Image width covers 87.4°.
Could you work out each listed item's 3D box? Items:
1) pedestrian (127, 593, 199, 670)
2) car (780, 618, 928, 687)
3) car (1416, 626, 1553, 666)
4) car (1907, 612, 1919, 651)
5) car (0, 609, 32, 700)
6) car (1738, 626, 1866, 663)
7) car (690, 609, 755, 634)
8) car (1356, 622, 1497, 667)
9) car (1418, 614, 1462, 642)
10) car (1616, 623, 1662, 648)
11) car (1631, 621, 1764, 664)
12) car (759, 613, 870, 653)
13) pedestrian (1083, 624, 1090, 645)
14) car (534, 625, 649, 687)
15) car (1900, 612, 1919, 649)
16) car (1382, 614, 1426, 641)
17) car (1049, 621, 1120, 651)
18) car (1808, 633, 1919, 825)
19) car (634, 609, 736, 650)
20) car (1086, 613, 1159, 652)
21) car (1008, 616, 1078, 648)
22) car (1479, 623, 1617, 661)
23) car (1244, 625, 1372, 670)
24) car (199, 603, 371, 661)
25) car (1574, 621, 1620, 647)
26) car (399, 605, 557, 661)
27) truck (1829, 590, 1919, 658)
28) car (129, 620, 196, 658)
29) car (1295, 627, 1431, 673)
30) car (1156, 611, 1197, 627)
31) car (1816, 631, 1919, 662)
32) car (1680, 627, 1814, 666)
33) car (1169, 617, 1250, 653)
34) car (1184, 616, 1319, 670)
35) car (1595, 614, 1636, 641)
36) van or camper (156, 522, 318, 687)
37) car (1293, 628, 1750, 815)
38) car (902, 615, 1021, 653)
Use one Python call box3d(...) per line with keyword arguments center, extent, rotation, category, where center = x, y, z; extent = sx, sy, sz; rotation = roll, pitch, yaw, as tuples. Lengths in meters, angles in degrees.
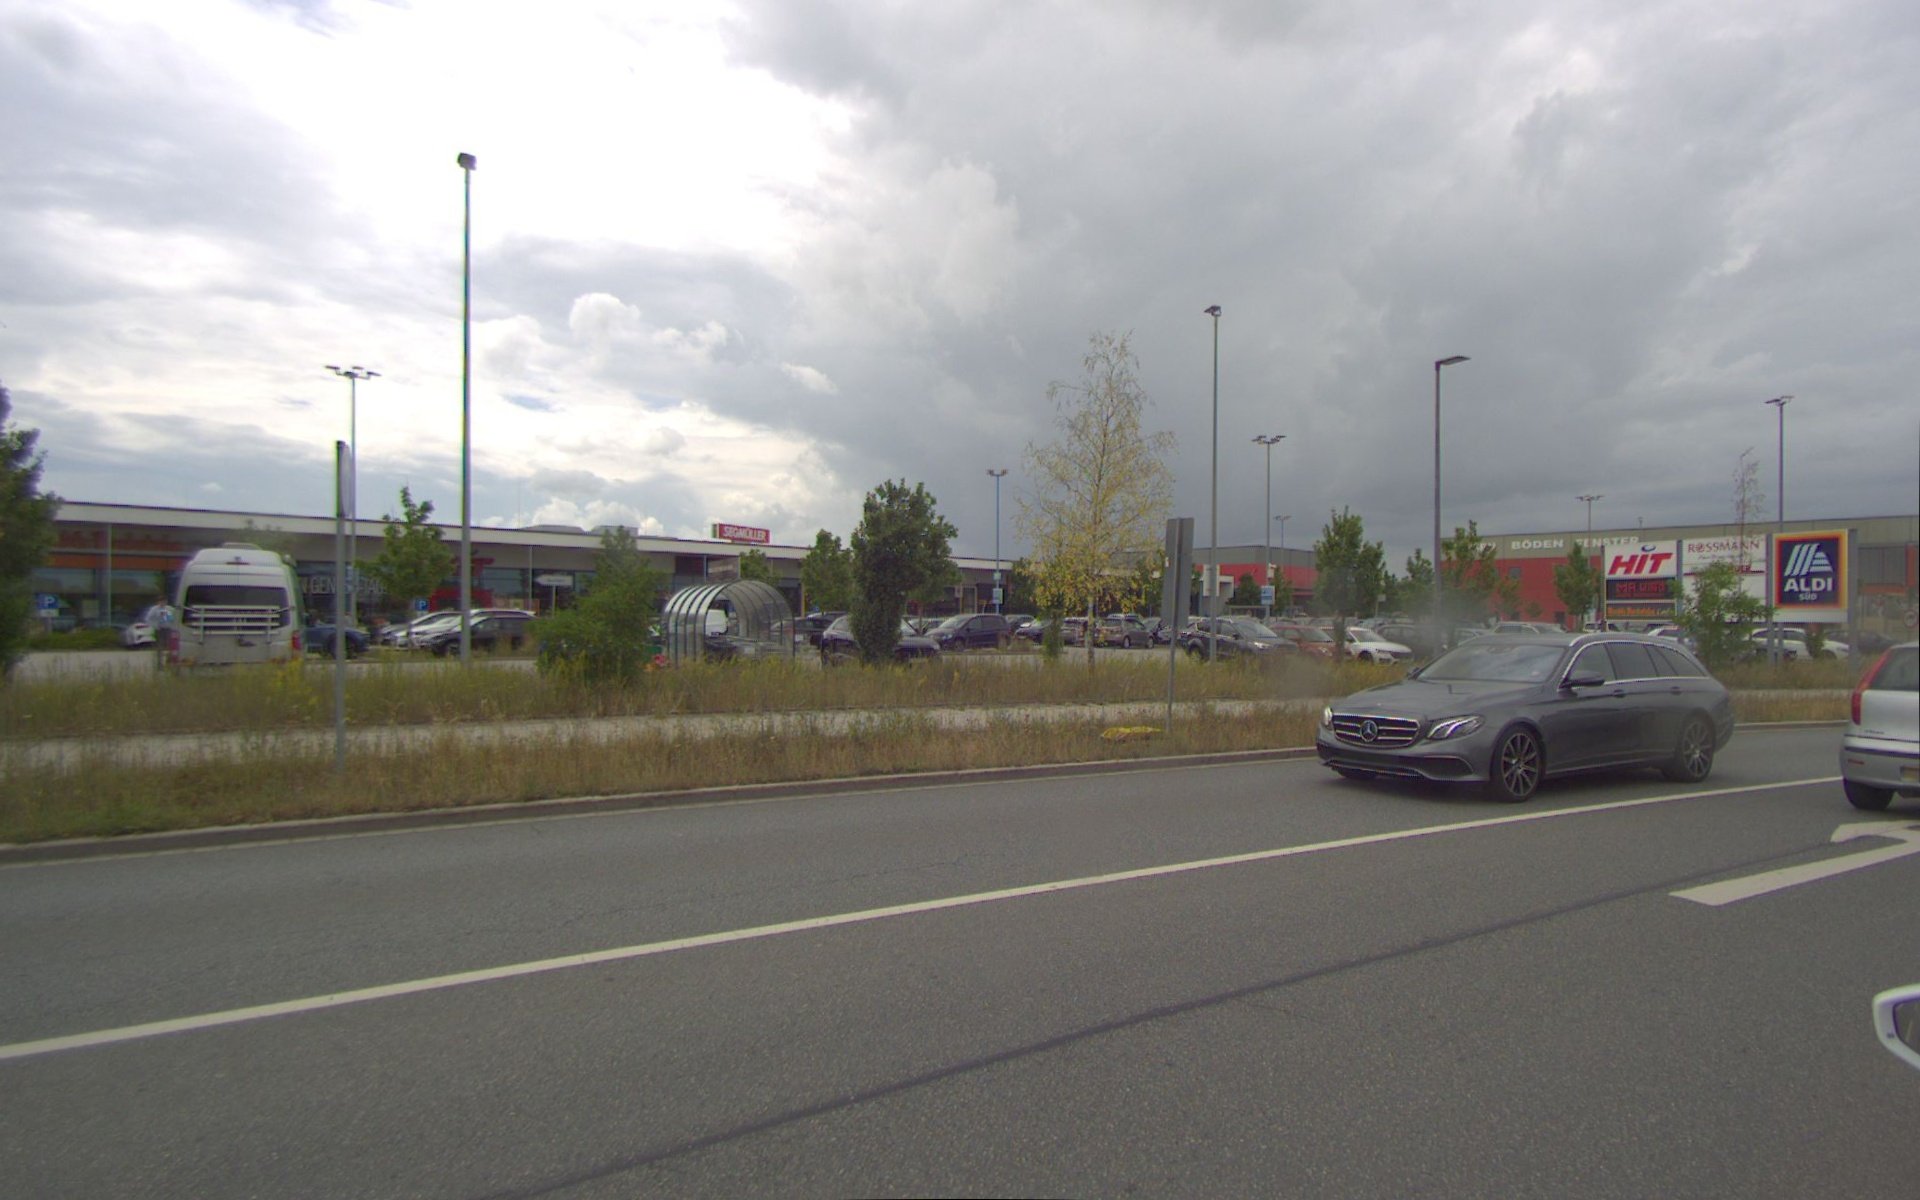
box3d(center=(-20.379, 0.802, 25.709), extent=(0.992, 1.915, 1.112), rotation=(0, -1, 27), category="pedestrian")
box3d(center=(-2.318, 1.020, 20.982), extent=(1.983, 1.276, 4.071), rotation=(1, -1, -23), category="car")
box3d(center=(19.771, 1.700, 38.066), extent=(2.001, 1.357, 4.298), rotation=(1, -1, -26), category="car")
box3d(center=(67.726, 2.176, 67.069), extent=(2.227, 2.633, 6.349), rotation=(2, -1, -42), category="car")
box3d(center=(-18.235, 0.969, 17.615), extent=(2.061, 1.656, 3.924), rotation=(1, -1, -30), category="car")
box3d(center=(39.159, 2.023, 46.810), extent=(1.968, 1.580, 4.223), rotation=(1, -1, -32), category="car")
box3d(center=(-14.658, 1.337, 61.939), extent=(3.992, 1.502, 1.995), rotation=(0, -1, 41), category="car")
box3d(center=(17.070, 1.579, 36.989), extent=(2.208, 1.525, 4.355), rotation=(1, -1, -23), category="car")
box3d(center=(36.864, 2.132, 77.118), extent=(1.972, 2.040, 3.977), rotation=(1, -1, 43), category="car")
box3d(center=(45.729, 2.391, 67.634), extent=(1.973, 1.628, 3.976), rotation=(0, -1, 44), category="car")
box3d(center=(31.979, 1.811, 43.654), extent=(2.003, 1.746, 4.226), rotation=(2, -1, -27), category="car")
box3d(center=(-5.884, 1.350, 41.048), extent=(1.972, 1.539, 4.171), rotation=(0, -1, 43), category="car")
box3d(center=(6.304, 1.710, 50.084), extent=(0.263, 1.063, 0.391), rotation=(1, 0, -2), category="pedestrian")
box3d(center=(-8.968, 1.281, 24.248), extent=(1.987, 1.322, 4.306), rotation=(1, -1, -29), category="car")
box3d(center=(63.938, 1.999, 63.828), extent=(2.195, 2.337, 6.011), rotation=(2, -1, -43), category="car")
box3d(center=(34.966, 2.137, 79.029), extent=(1.972, 2.040, 3.977), rotation=(1, -1, 43), category="car")
box3d(center=(6.722, 1.889, 53.937), extent=(1.813, 1.528, 3.976), rotation=(0, -1, 44), category="car")
box3d(center=(9.186, 1.020, 8.486), extent=(3.980, 1.457, 1.696), rotation=(1, -1, -27), category="car")
box3d(center=(-13.446, 1.415, 49.252), extent=(2.214, 1.899, 4.279), rotation=(0, -1, 45), category="car")
box3d(center=(8.426, 1.657, 51.880), extent=(1.810, 1.947, 4.429), rotation=(0, -1, 39), category="car")
box3d(center=(4.622, 1.776, 55.842), extent=(1.813, 1.706, 3.976), rotation=(-1, -2, 44), category="car")
box3d(center=(23.259, 1.634, 39.922), extent=(2.134, 1.409, 4.350), rotation=(1, -1, -22), category="car")
box3d(center=(11.878, 1.594, 34.554), extent=(1.971, 1.409, 4.077), rotation=(1, -1, -22), category="car")
box3d(center=(-21.886, 1.015, 32.701), extent=(1.884, 1.775, 4.364), rotation=(0, -1, 44), category="car")
box3d(center=(44.262, 2.360, 69.741), extent=(1.973, 1.752, 3.976), rotation=(0, -1, 44), category="car")
box3d(center=(-17.776, 1.196, 37.191), extent=(4.887, 1.924, 2.133), rotation=(1, -1, -41), category="car")
box3d(center=(52.960, 1.380, 55.274), extent=(8.270, 3.588, 2.856), rotation=(1, 0, -6), category="truck")
box3d(center=(-33.628, 1.596, 42.335), extent=(1.985, 1.494, 3.951), rotation=(1, -1, -42), category="car")
box3d(center=(14.140, 1.709, 35.482), extent=(1.983, 1.476, 4.307), rotation=(1, -1, -24), category="car")
box3d(center=(23.251, 2.052, 108.109), extent=(1.982, 1.628, 3.957), rotation=(2, -1, -37), category="car")
box3d(center=(45.822, 2.291, 50.231), extent=(1.974, 1.454, 4.213), rotation=(1, -1, -29), category="car")
box3d(center=(34.583, 1.997, 44.276), extent=(2.017, 1.533, 4.233), rotation=(1, -1, -23), category="car")
box3d(center=(11.960, 1.632, 48.002), extent=(3.974, 1.628, 1.974), rotation=(1, -1, -45), category="car")
box3d(center=(9.610, 1.379, 33.465), extent=(2.052, 1.677, 4.288), rotation=(1, -1, -25), category="car")
box3d(center=(48.549, 2.037, 74.354), extent=(1.971, 1.874, 4.245), rotation=(0, -1, 41), category="car")
box3d(center=(-14.428, 0.152, 20.385), extent=(2.219, 2.837, 5.820), rotation=(2, -2, -32), category="van or camper")
box3d(center=(5.688, 1.048, 10.043), extent=(4.708, 1.509, 1.778), rotation=(1, -2, -29), category="car")
box3d(center=(0.116, 1.453, 43.377), extent=(5.063, 1.539, 1.977), rotation=(2, -1, -39), category="car")
